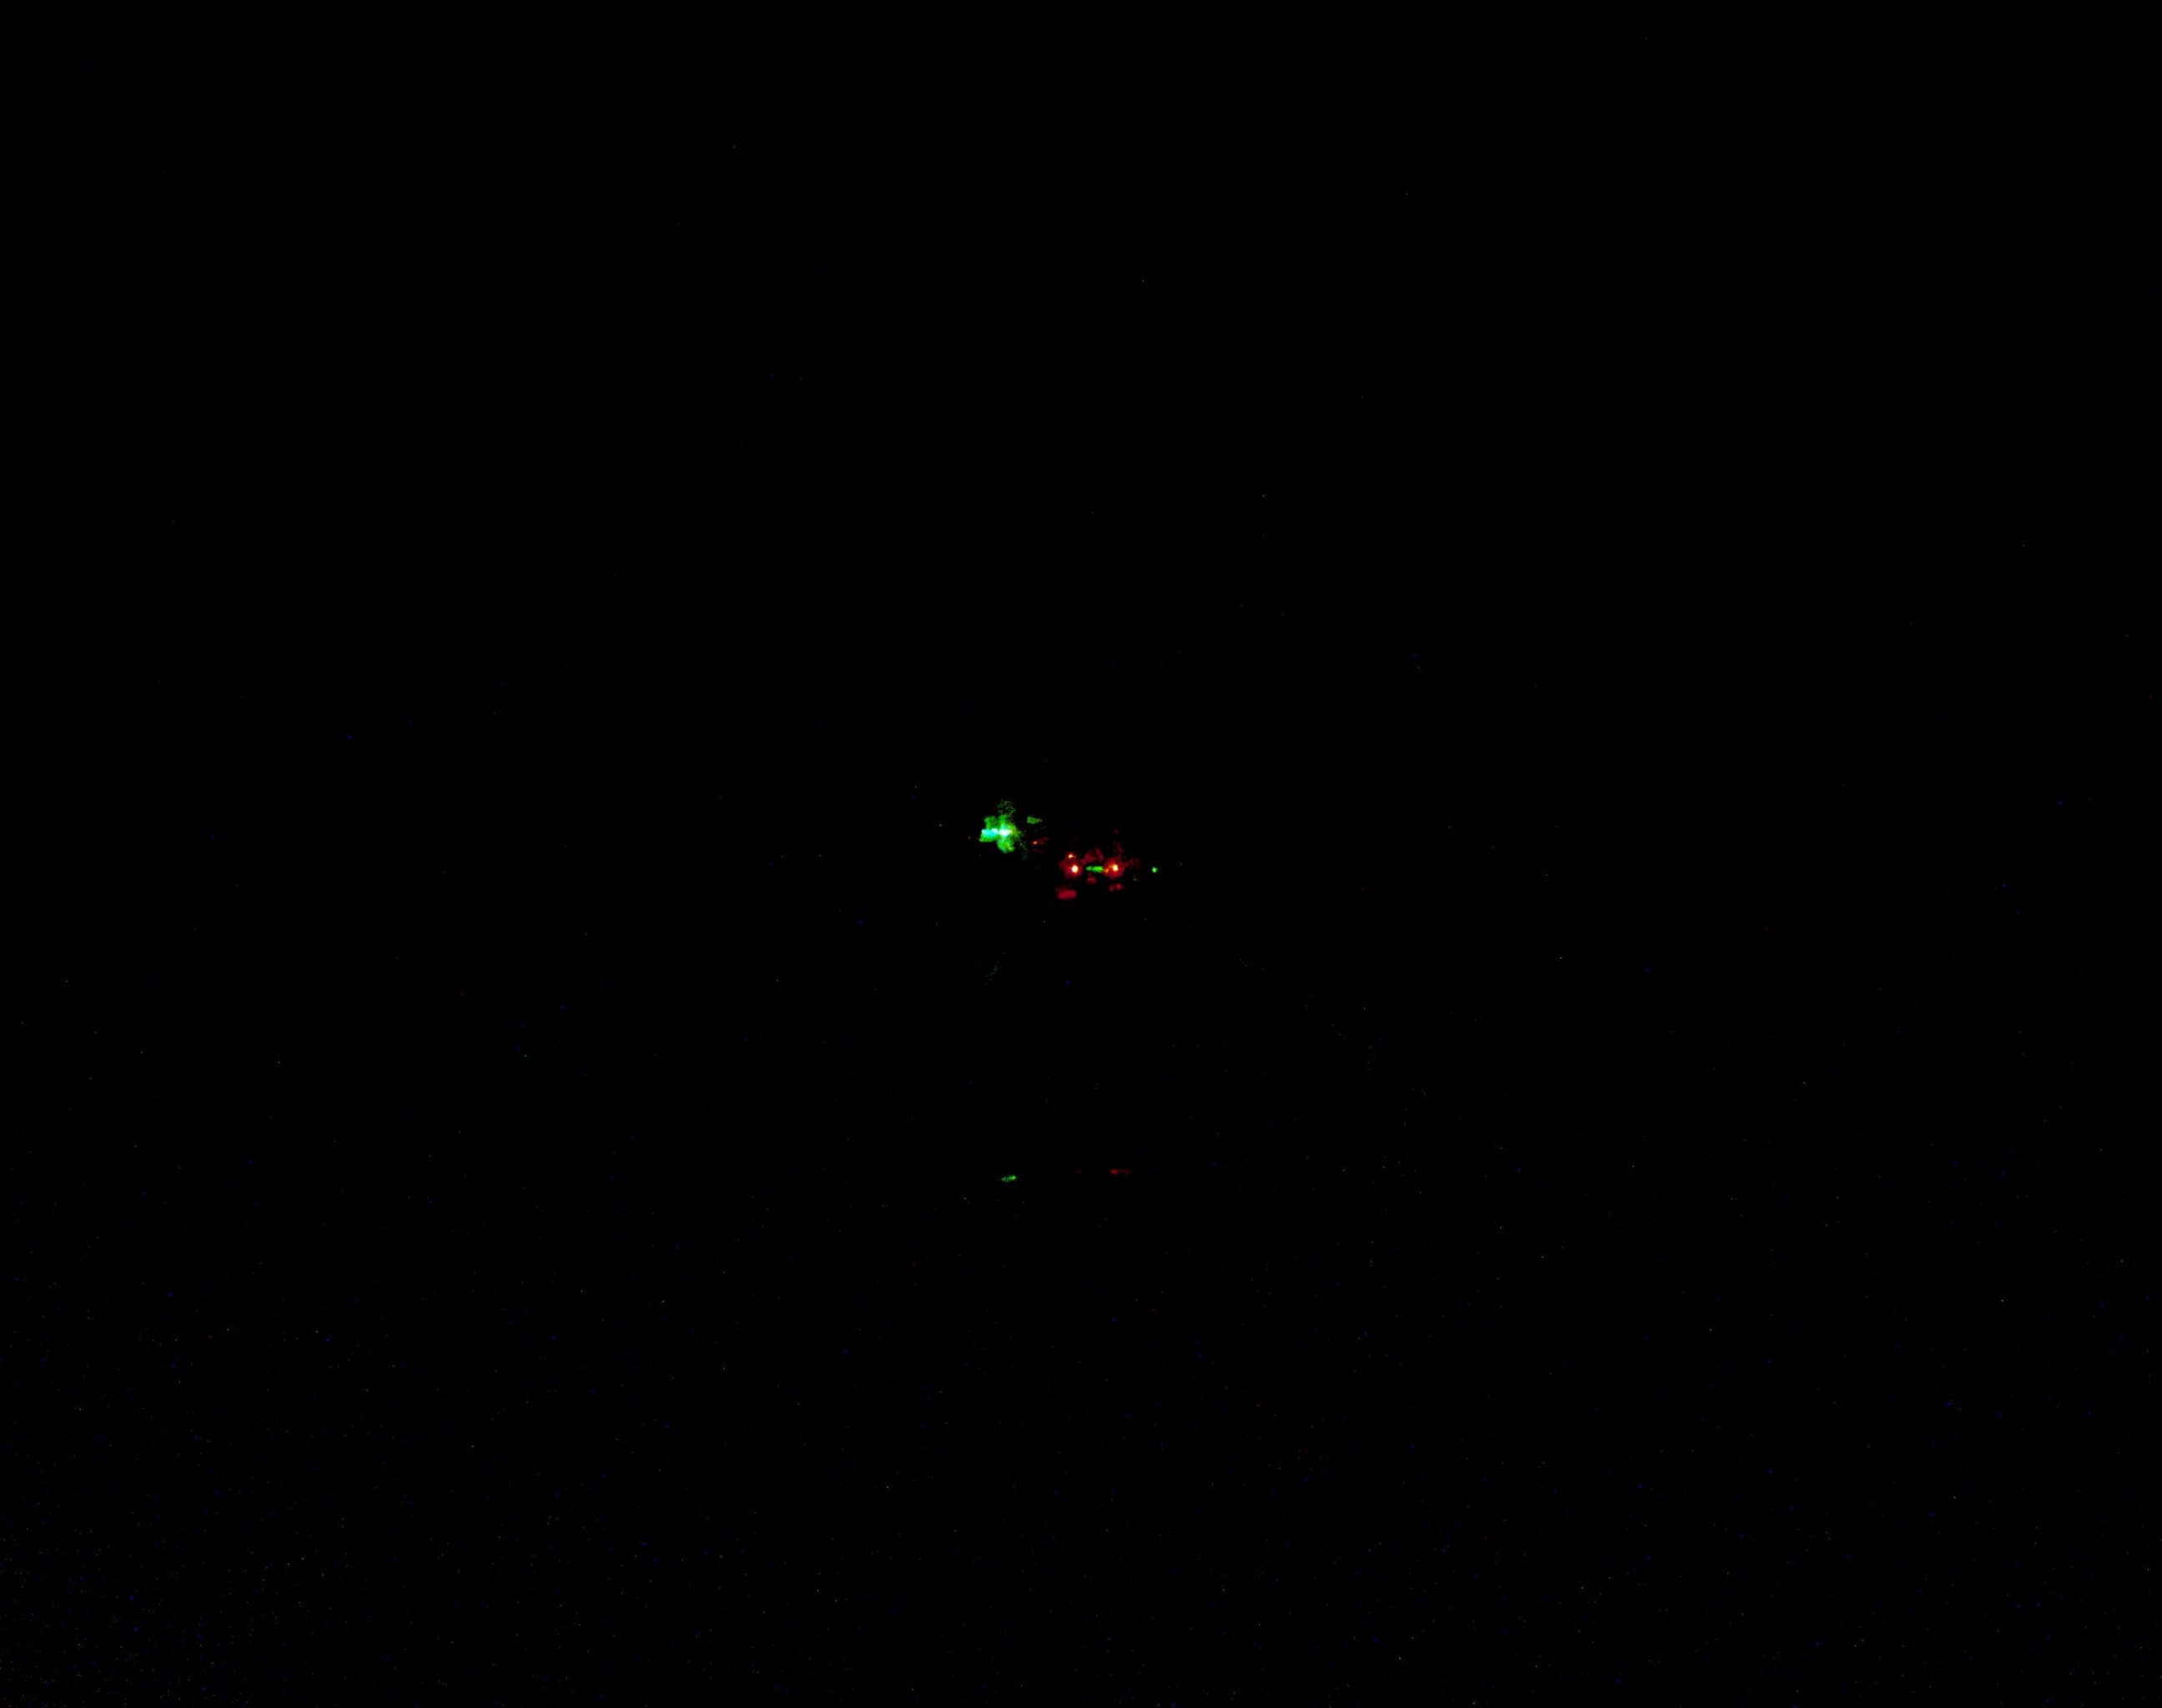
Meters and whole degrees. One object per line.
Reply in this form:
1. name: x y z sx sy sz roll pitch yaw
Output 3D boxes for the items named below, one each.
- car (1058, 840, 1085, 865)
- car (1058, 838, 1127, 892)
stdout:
1. car: -0.840 -0.129 70.308 1.991 2.013 3.992 -1 0 -6
2. car: 0.554 0.413 32.679 2.447 1.958 4.917 -2 0 4
